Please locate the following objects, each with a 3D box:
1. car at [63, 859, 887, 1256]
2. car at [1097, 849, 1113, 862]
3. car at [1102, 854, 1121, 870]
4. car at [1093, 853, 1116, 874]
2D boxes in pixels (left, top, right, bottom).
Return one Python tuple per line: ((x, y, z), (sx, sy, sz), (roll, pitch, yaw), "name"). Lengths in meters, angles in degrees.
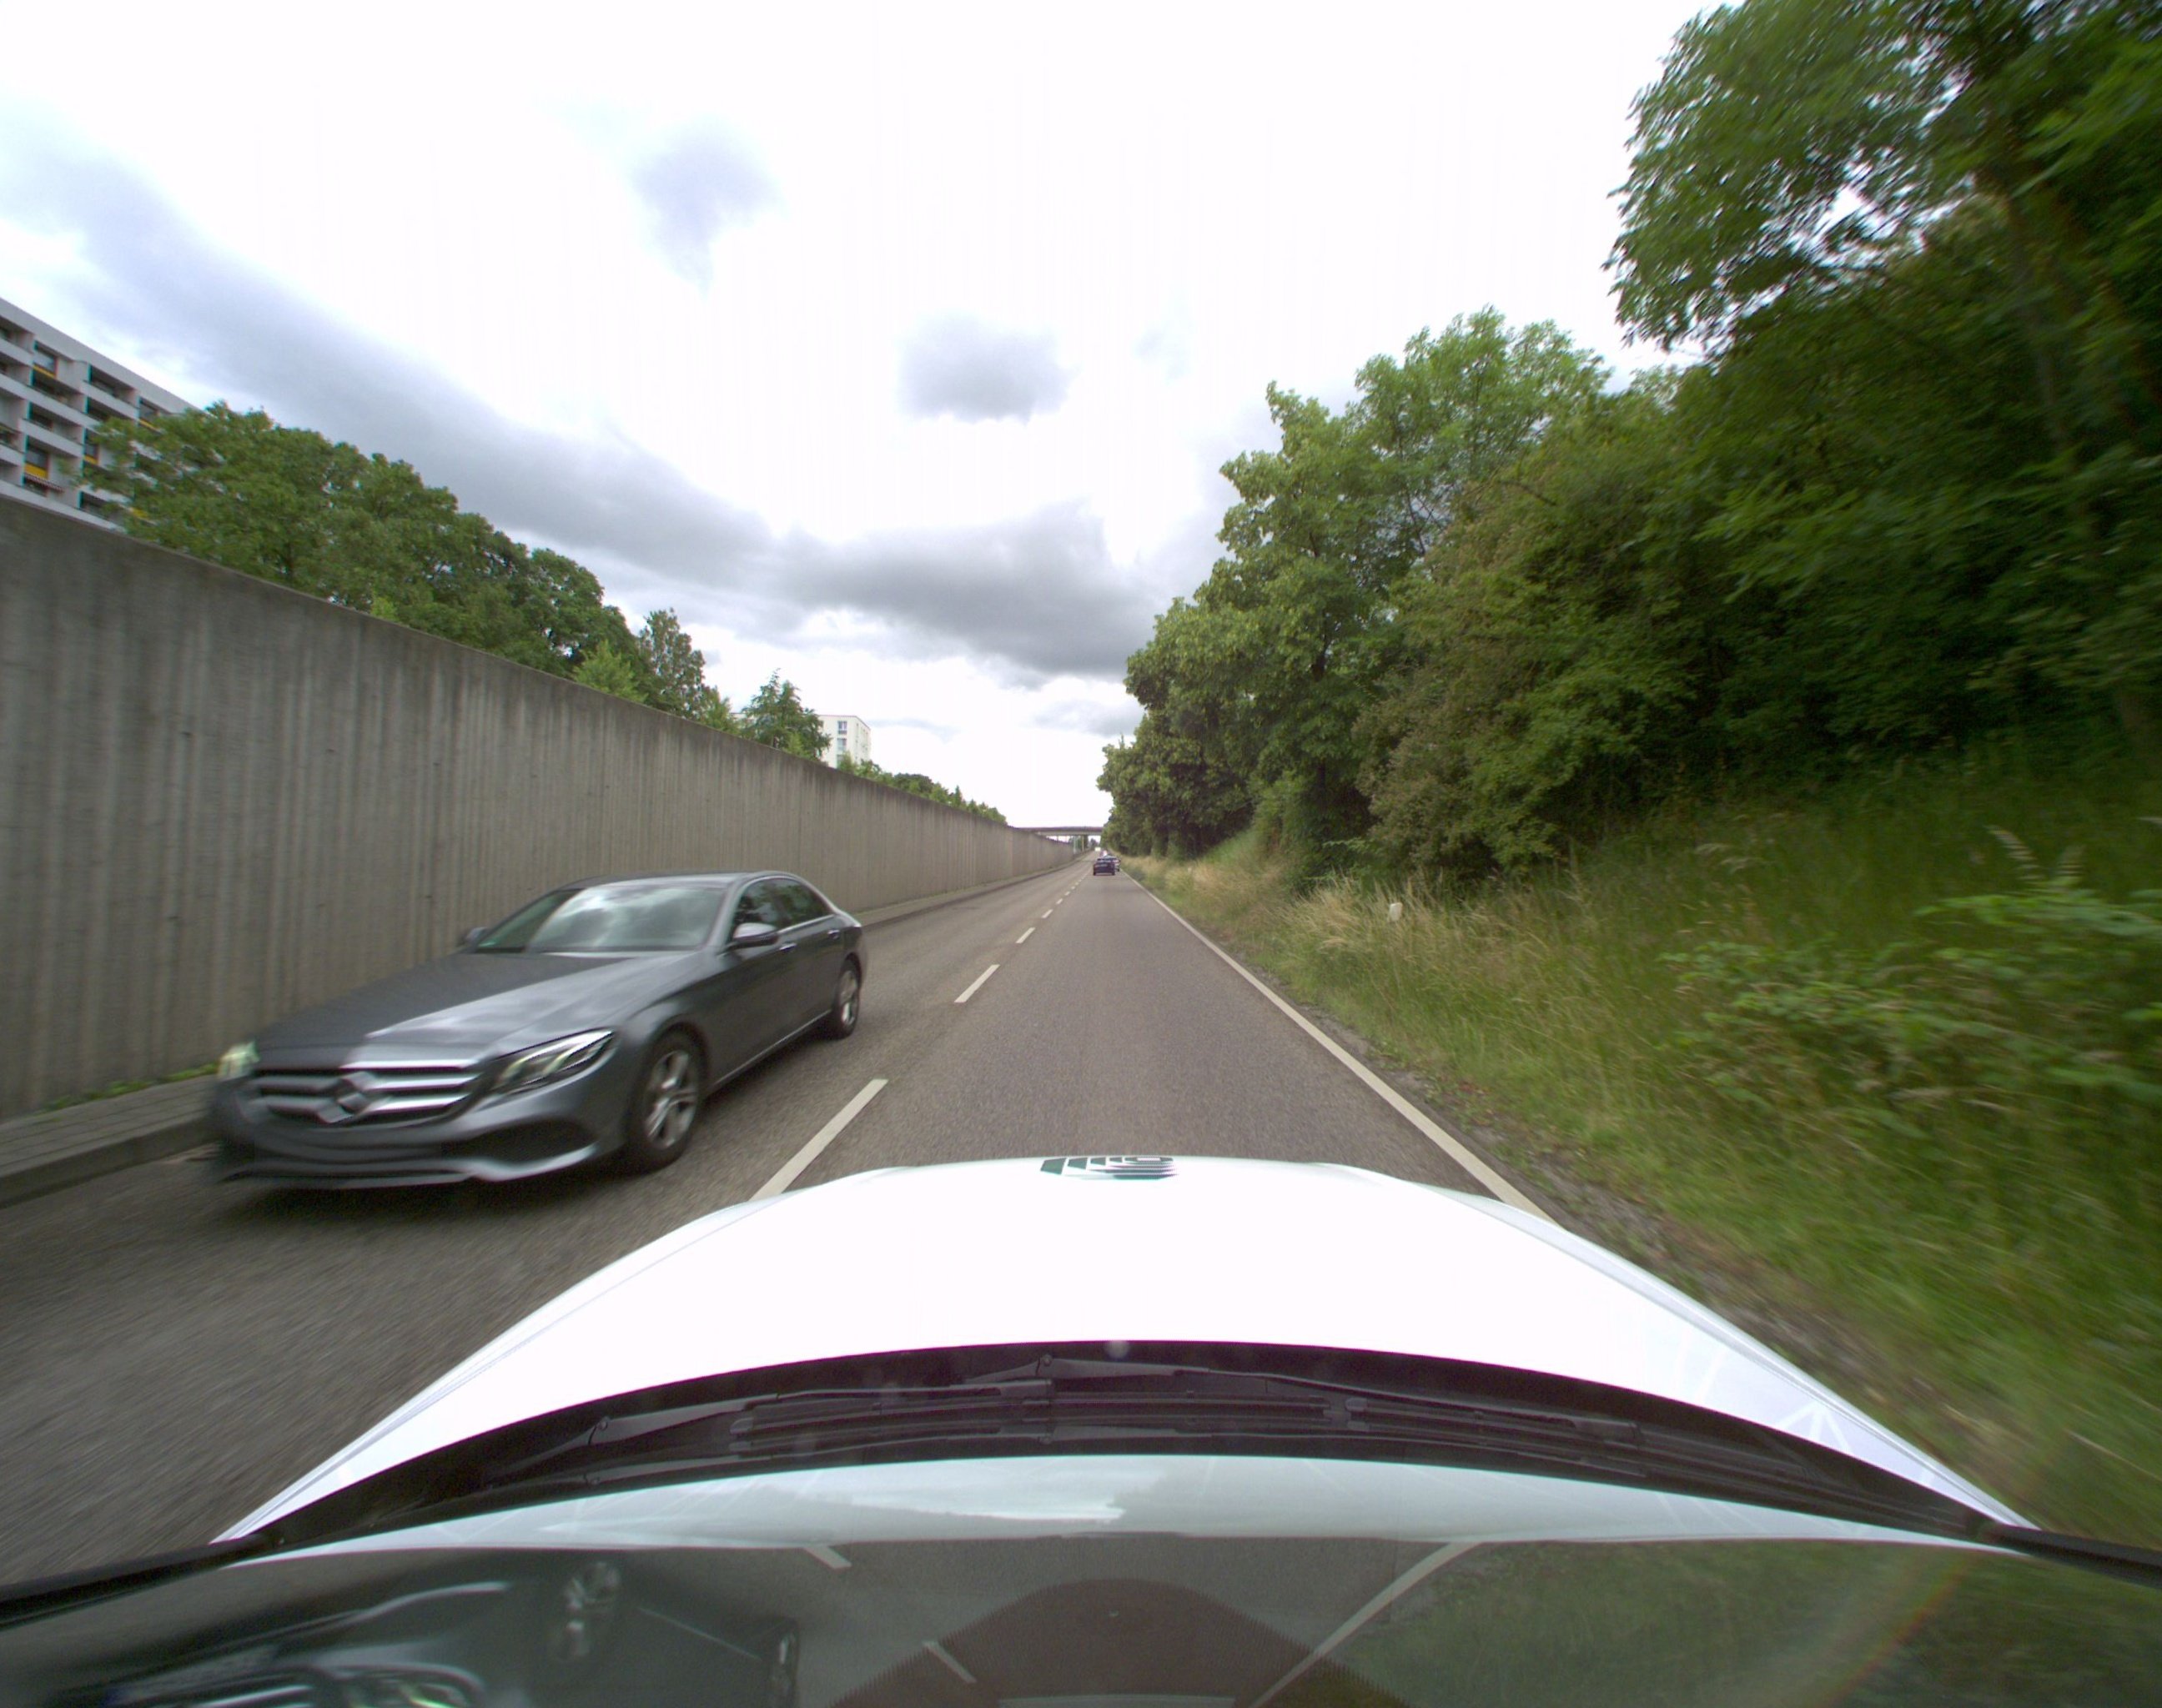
((-2.925, 0.806, 5.558), (1.885, 1.483, 4.825), (-1, 0, 2), "car")
((2.939, 0.160, 100.078), (1.861, 1.490, 4.256), (2, 0, 0), "car")
((3.039, 0.826, 81.196), (1.748, 1.523, 4.038), (-3, -1, 2), "car")
((1.887, 0.780, 65.797), (1.748, 1.523, 4.037), (-1, -2, 1), "car")
